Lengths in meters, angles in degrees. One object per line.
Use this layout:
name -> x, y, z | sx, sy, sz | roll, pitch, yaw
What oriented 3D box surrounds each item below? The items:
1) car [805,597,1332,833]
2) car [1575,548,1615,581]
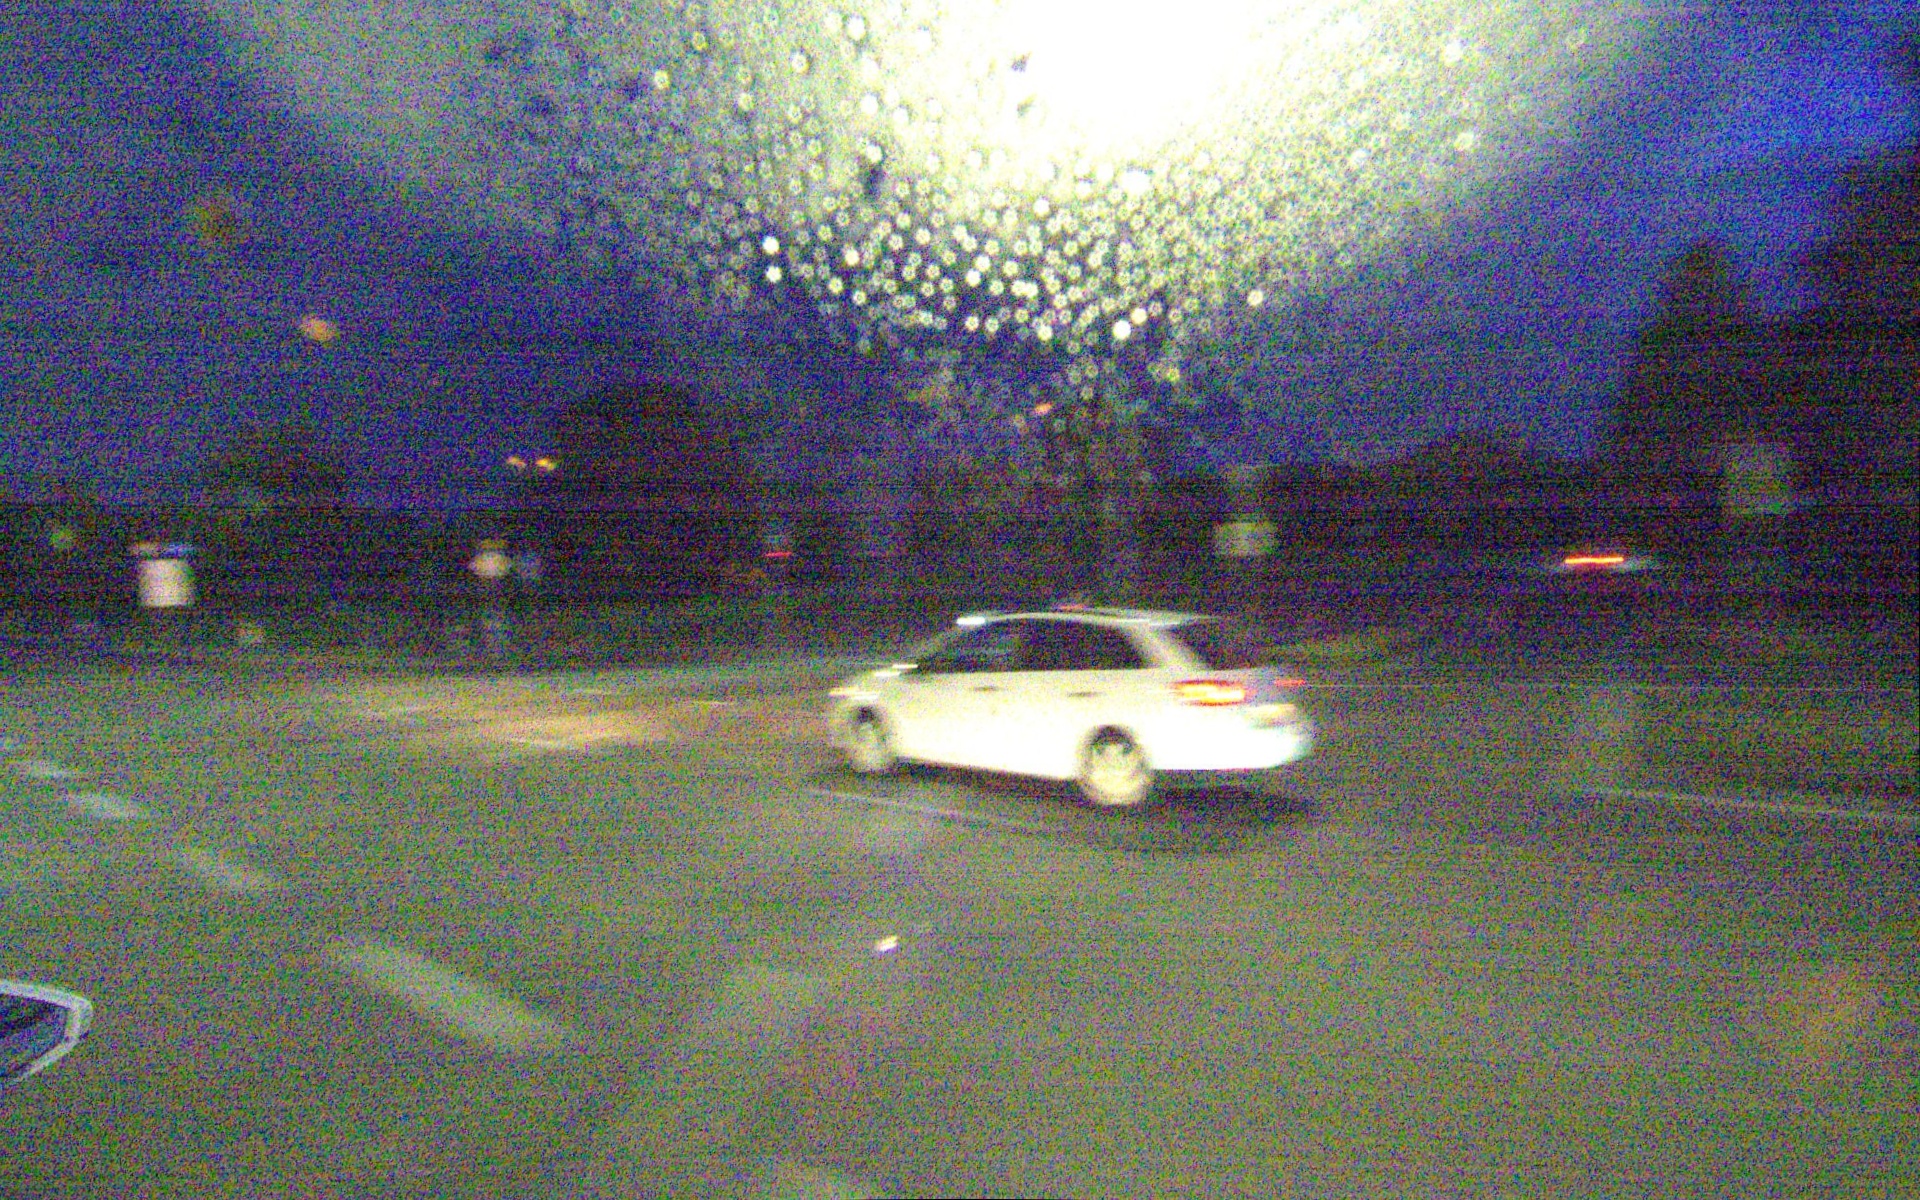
car -> 0.711, 0.730, 8.150 | 4.068, 1.462, 1.612 | 0, 0, 40
car -> 38.406, -2.162, 60.509 | 1.718, 1.595, 4.027 | -1, 5, 37
